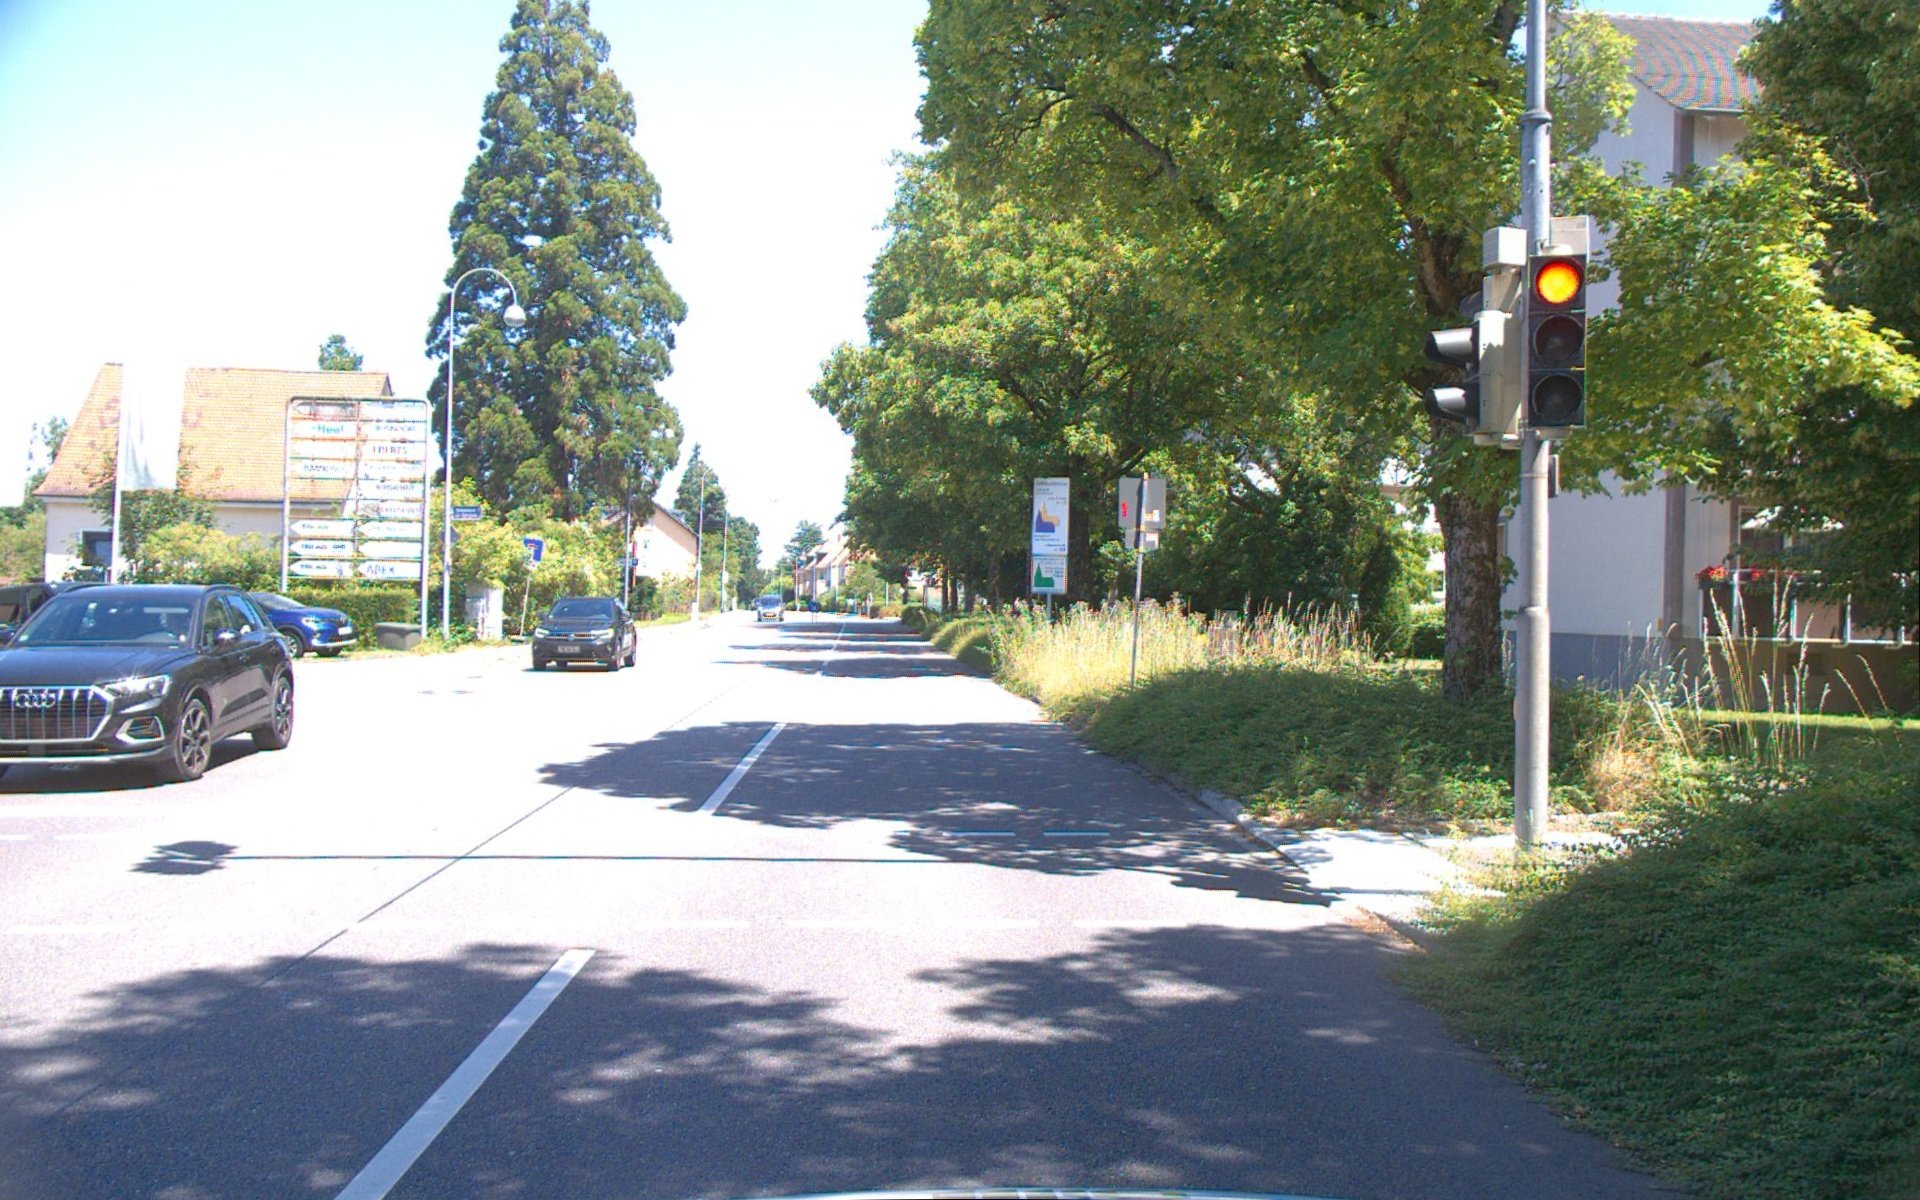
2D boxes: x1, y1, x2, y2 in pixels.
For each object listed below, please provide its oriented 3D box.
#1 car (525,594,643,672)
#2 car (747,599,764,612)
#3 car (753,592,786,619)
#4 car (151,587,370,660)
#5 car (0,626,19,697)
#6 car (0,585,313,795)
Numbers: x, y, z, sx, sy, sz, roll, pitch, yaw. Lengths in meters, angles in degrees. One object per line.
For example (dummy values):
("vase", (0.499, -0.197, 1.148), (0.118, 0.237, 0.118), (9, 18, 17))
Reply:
("car", (-7.828, 0.652, 34.758), (1.832, 1.533, 4.049), (0, 0, -5))
("car", (-24.621, 0.656, 199.279), (1.786, 1.579, 3.996), (0, 0, -4))
("car", (-13.086, 0.370, 113.831), (1.774, 1.793, 4.569), (2, 0, -1))
("car", (-15.191, 0.494, 36.007), (4.047, 1.531, 1.779), (0, 0, 8))
("car", (-24.612, 1.533, 40.057), (1.775, 1.752, 4.081), (1, 0, -8))
("car", (-7.284, 0.682, 14.661), (1.890, 1.582, 4.295), (0, 0, -8))
